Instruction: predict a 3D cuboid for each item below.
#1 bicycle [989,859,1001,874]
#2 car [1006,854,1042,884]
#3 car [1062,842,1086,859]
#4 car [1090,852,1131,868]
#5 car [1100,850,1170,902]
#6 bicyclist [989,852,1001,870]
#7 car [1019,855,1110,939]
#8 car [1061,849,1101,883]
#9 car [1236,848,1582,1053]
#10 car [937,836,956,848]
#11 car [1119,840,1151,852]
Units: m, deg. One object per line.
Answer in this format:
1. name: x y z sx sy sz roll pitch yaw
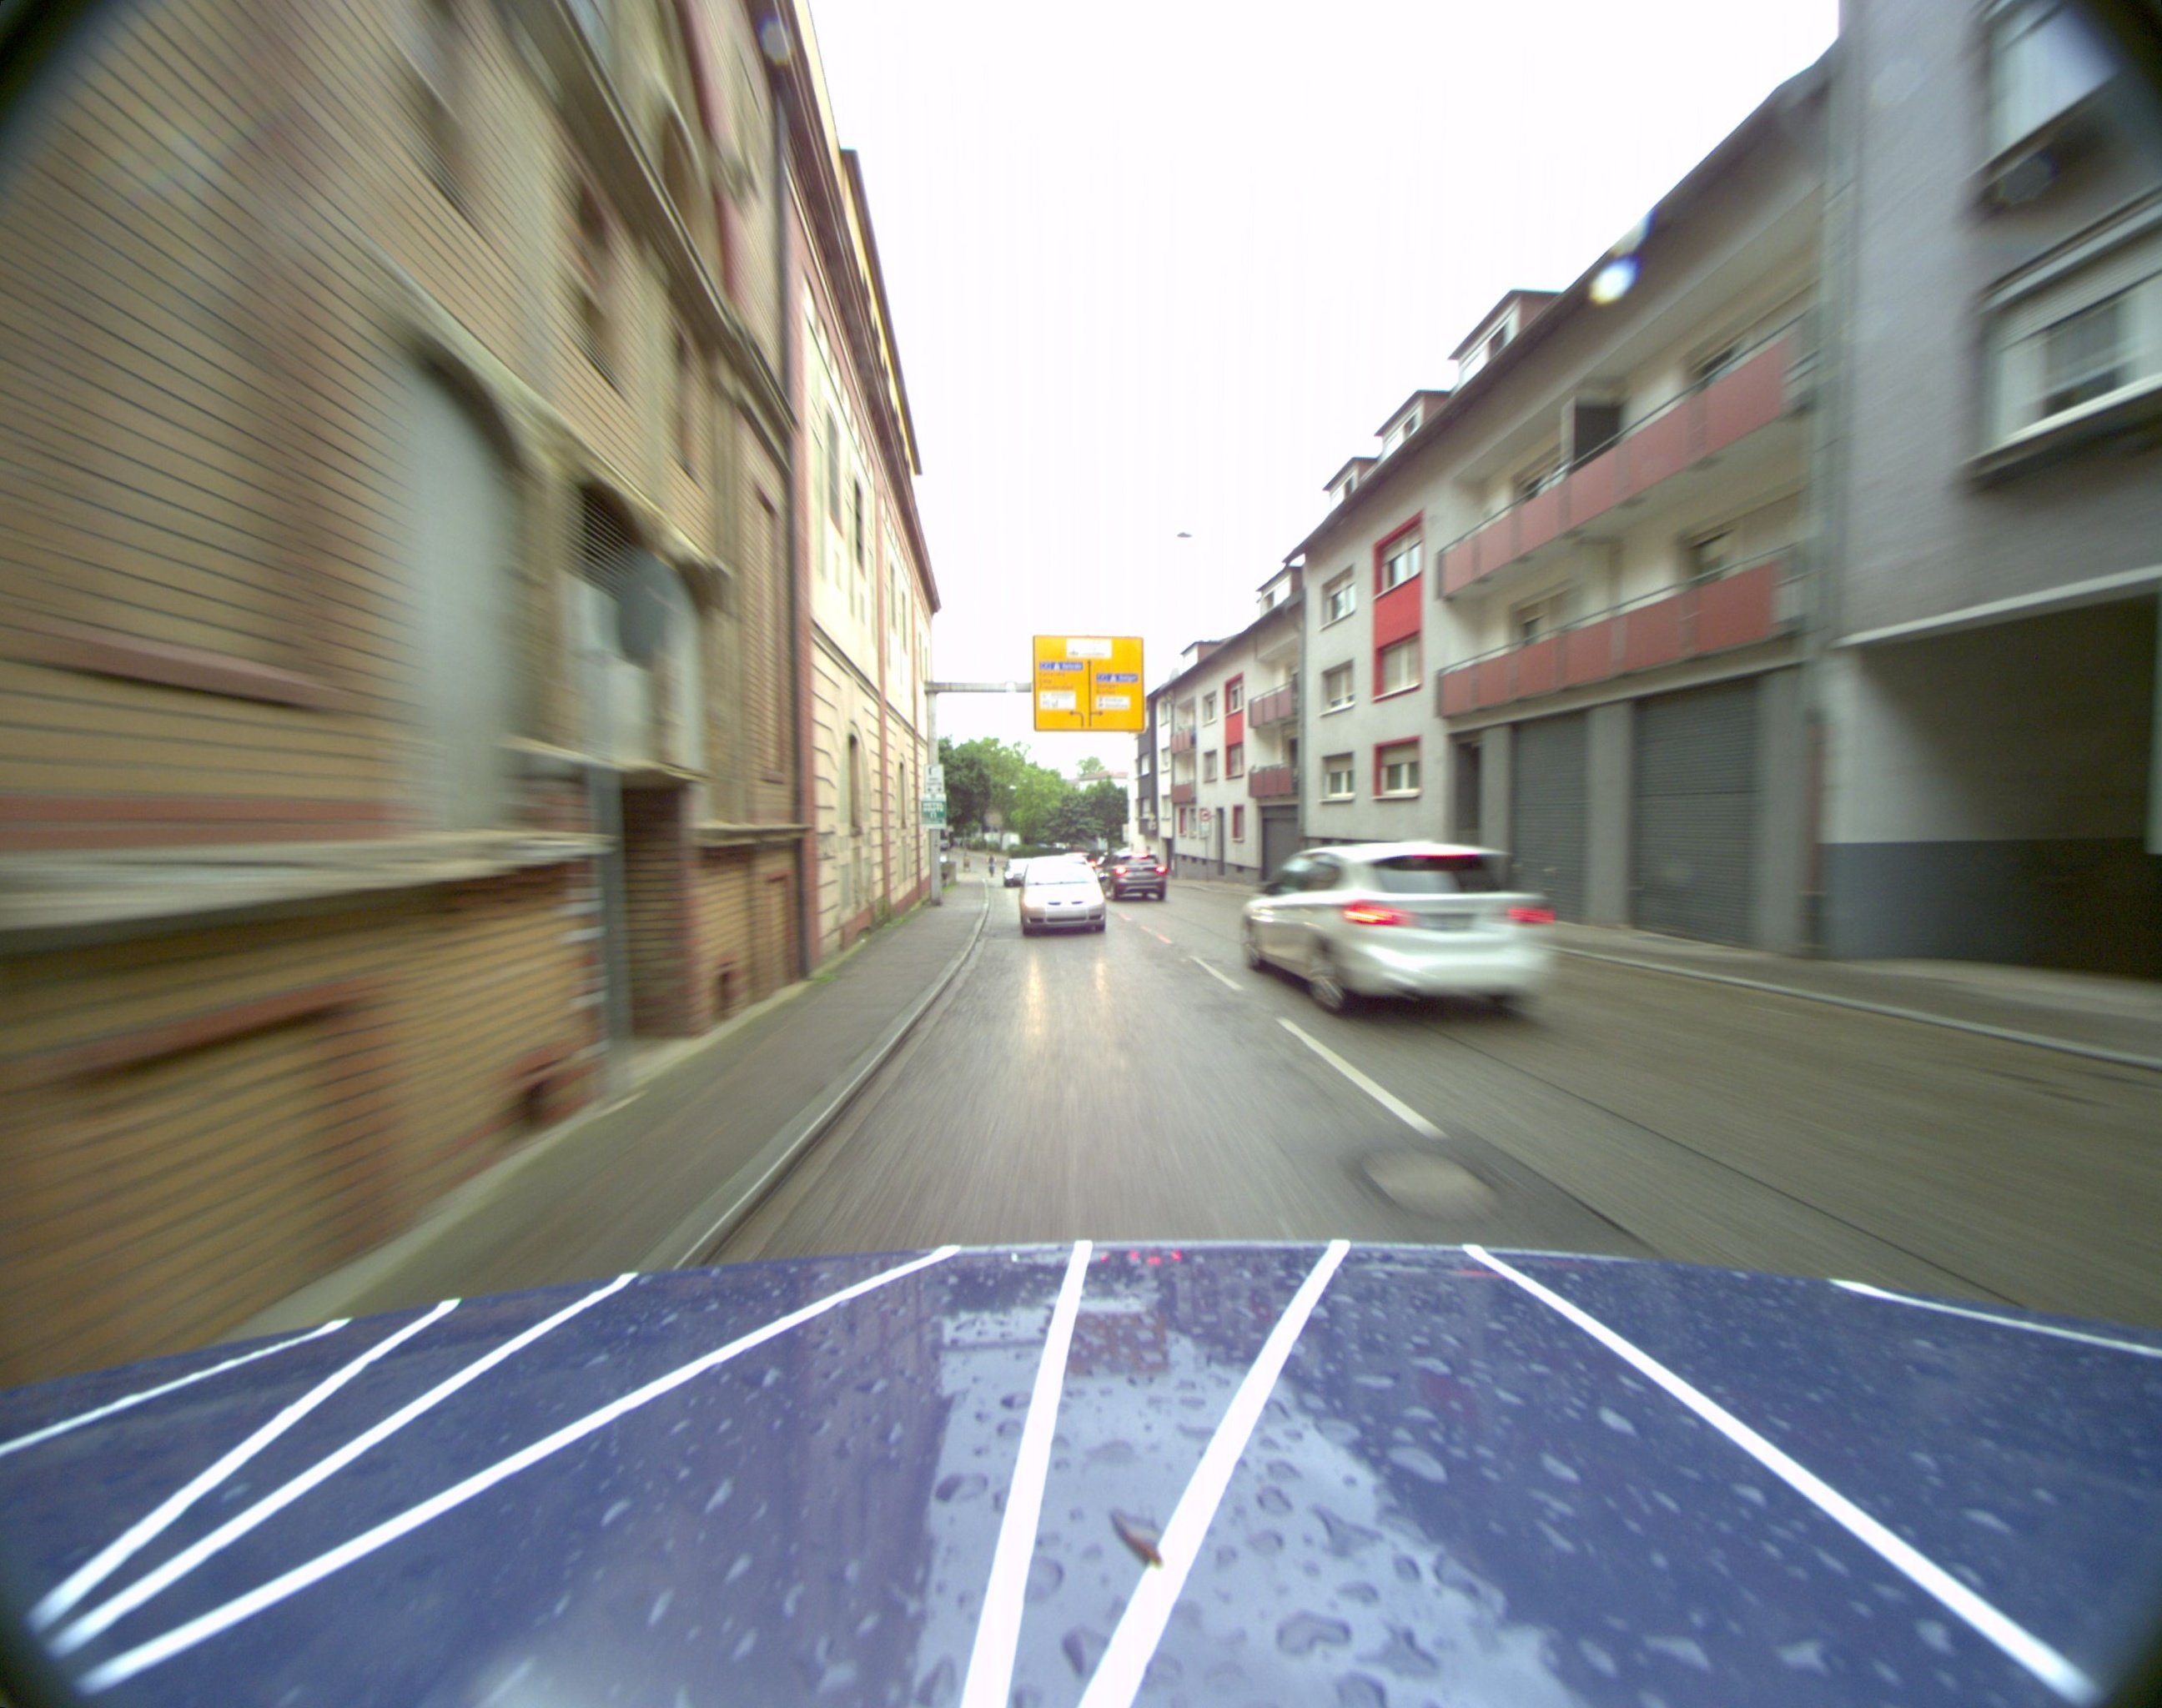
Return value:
1. bicycle: -7.226 1.023 63.967 0.888 1.181 2.132 -1 1 -4
2. car: -3.068 0.803 40.495 1.687 1.418 3.837 -3 0 -7
3. car: -0.926 -0.490 94.731 1.639 1.949 4.203 2 2 -19
4. car: 3.197 0.652 82.640 4.003 1.501 1.797 -2 0 -17
5. car: 1.731 0.670 25.450 1.769 1.567 3.762 -1 1 -5
6. bicyclist: -7.247 0.558 64.093 0.888 1.481 0.968 -1 2 -4
7. car: -0.472 0.820 16.477 1.687 1.496 3.836 -3 1 -5
8. car: -0.034 0.600 40.490 1.769 1.648 3.985 -1 1 -5
9. car: 3.000 0.742 7.984 1.769 1.567 4.035 -1 1 -2
10. car: -19.577 -1.748 110.391 1.911 1.642 3.990 -2 4 -22
11. car: 7.564 -1.132 106.320 4.006 1.502 1.795 1 2 -28
